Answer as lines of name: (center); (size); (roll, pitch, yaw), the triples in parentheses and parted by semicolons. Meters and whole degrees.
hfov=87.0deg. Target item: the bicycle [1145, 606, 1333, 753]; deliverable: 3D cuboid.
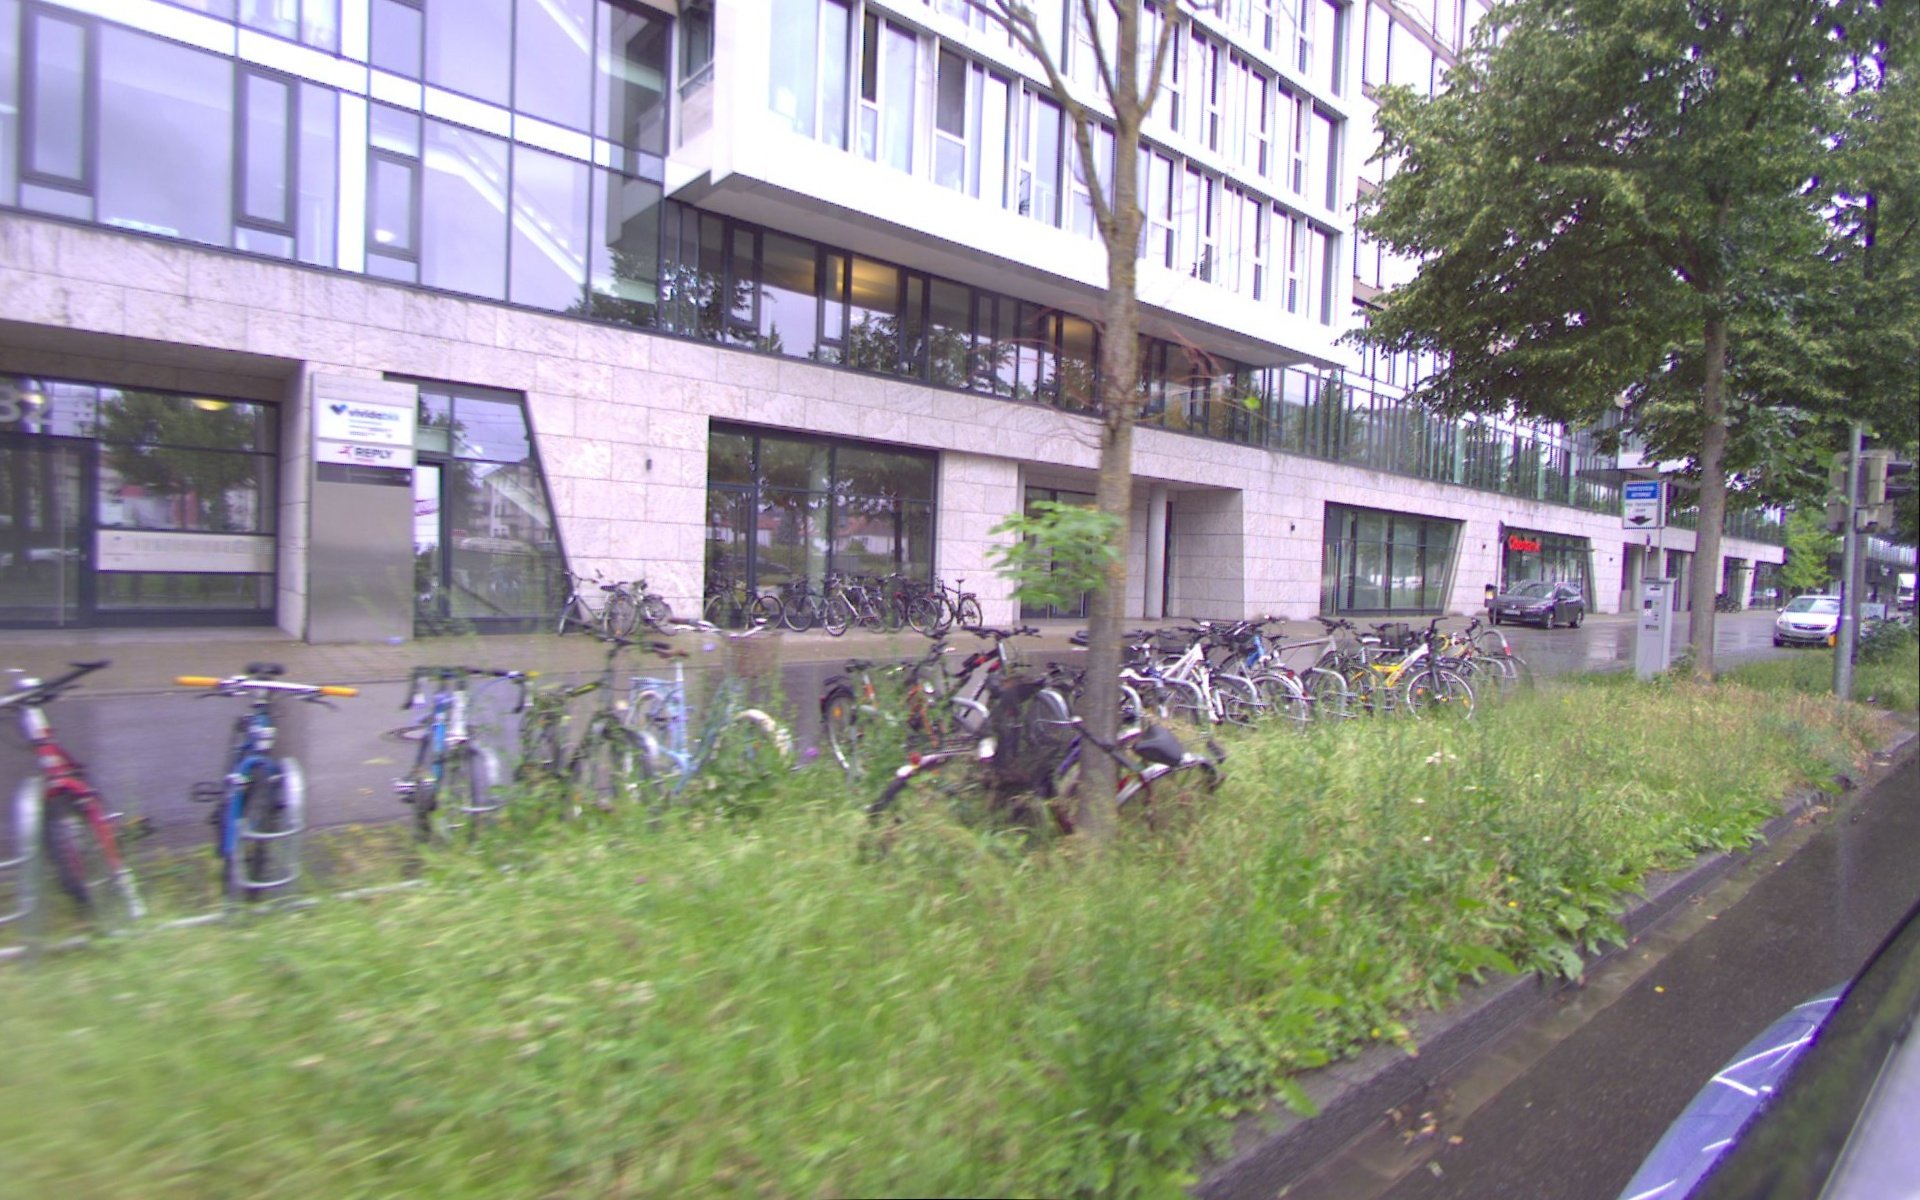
bicycle: (2.353, 0.635, 8.698); (0.292, 1.066, 1.615); (0, 3, -42)

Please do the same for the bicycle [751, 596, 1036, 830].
bicycle: (-0.239, 0.421, 4.275); (1.270, 0.859, 0.275); (0, 3, -41)

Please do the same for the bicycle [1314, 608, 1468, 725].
bicycle: (4.327, 0.633, 10.250); (0.342, 1.030, 1.444); (1, 2, -35)

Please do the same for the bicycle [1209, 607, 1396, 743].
bicycle: (3.248, 0.677, 9.738); (1.706, 1.116, 0.279); (4, 3, 44)

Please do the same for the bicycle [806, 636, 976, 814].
bicycle: (-0.439, 0.684, 5.957); (0.270, 0.859, 1.291); (0, 2, -41)

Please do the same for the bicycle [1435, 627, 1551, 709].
bicycle: (6.534, 0.809, 12.452); (0.270, 0.859, 1.295); (1, 2, -29)

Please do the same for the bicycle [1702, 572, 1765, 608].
bicycle: (43.851, -0.583, 57.384); (0.694, 1.883, 2.690); (1, 2, -35)

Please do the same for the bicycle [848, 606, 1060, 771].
bicycle: (-0.105, 0.523, 6.705); (0.270, 0.859, 1.821); (0, 3, -41)

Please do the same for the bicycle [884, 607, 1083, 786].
bicycle: (0.110, 0.598, 6.929); (0.315, 1.000, 1.646); (0, 3, -41)

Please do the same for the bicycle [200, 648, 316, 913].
bicycle: (-2.970, 0.683, 4.247); (0.270, 0.859, 1.291); (0, 2, -41)

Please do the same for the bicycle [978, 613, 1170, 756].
bicycle: (0.771, 0.561, 7.296); (0.270, 0.860, 1.618); (0, 2, -40)

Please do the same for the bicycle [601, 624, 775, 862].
bicycle: (-1.360, 0.631, 4.934); (0.270, 0.930, 1.291); (0, 3, -41)

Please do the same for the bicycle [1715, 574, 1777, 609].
bicycle: (45.646, -0.523, 58.786); (0.694, 1.883, 2.690); (1, 2, -35)

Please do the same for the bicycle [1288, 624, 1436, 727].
bicycle: (3.815, 0.694, 9.668); (1.289, 0.859, 0.271); (3, 2, 45)

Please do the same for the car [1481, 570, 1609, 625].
car: (19.153, -0.054, 33.037); (4.944, 1.519, 1.999); (1, 4, -40)

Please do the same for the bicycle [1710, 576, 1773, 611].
bicycle: (45.026, -0.376, 58.333); (0.694, 1.883, 2.690); (1, 2, -35)

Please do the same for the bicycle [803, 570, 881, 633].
bicycle: (-2.160, 0.001, 18.345); (0.531, 1.041, 1.812); (0, 3, -37)

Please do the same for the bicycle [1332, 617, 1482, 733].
bicycle: (4.610, 0.741, 10.524); (0.342, 1.030, 1.444); (1, 2, -33)

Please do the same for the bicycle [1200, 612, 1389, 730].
bicycle: (3.081, 0.623, 9.459); (1.706, 0.960, 0.308); (2, 2, 44)

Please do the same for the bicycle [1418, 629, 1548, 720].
bicycle: (5.878, 0.814, 11.436); (0.270, 0.859, 1.293); (1, 3, -35)

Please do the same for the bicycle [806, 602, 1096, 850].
bicycle: (0.006, 0.446, 4.086); (1.270, 0.859, 0.275); (0, 3, -41)

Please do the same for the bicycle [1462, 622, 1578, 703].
bicycle: (7.072, 0.768, 12.839); (0.295, 0.884, 1.295); (1, 3, -29)

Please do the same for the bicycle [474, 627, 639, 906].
bicycle: (-1.821, 0.658, 4.481); (0.270, 1.001, 1.291); (0, 2, -41)

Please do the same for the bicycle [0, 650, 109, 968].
bicycle: (-3.410, 0.682, 3.808); (0.305, 0.859, 1.598); (0, 2, -41)

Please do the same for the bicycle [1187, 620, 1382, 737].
bicycle: (2.877, 0.666, 9.126); (0.308, 0.859, 1.708); (1, 2, -44)

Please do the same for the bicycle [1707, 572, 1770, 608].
bicycle: (44.447, -0.580, 57.812); (0.694, 1.883, 2.690); (1, 2, -35)

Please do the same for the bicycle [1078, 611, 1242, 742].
bicycle: (1.606, 0.588, 8.305); (0.270, 0.908, 1.412); (0, 3, -42)

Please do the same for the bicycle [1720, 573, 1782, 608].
bicycle: (46.256, -0.568, 59.227); (0.694, 1.883, 2.690); (1, 2, -35)

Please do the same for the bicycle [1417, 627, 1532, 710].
bicycle: (6.247, 0.806, 12.341); (0.270, 0.859, 1.295); (1, 2, -29)

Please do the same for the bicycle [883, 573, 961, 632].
bicycle: (-0.759, 0.025, 19.529); (0.531, 1.041, 1.812); (0, 3, -37)

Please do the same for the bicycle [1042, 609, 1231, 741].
bicycle: (1.306, 0.532, 7.769); (0.270, 0.860, 1.618); (0, 2, -40)

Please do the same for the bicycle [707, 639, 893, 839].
bicycle: (-0.892, 0.687, 5.421); (0.348, 0.859, 1.291); (0, 2, -41)

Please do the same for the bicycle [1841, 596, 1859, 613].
bicycle: (61.327, 0.307, 69.744); (2.027, 1.144, 0.520); (0, 2, -38)

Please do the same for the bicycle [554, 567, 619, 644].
bicycle: (-5.573, 0.058, 15.044); (0.415, 1.041, 1.699); (0, 3, -37)

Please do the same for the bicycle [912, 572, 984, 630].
bicycle: (-0.257, 0.004, 19.961); (0.394, 1.041, 1.812); (0, 3, -37)

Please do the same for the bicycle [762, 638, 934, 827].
bicycle: (-0.660, 0.687, 5.655); (0.270, 0.859, 1.291); (0, 2, -41)

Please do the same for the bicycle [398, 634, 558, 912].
bicycle: (-2.100, 0.661, 4.341); (0.270, 0.921, 1.328); (0, 3, -41)

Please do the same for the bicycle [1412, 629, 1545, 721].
bicycle: (5.692, 0.800, 11.169); (0.270, 0.868, 1.293); (1, 2, -35)

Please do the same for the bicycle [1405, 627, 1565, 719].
bicycle: (6.058, 0.816, 11.769); (0.270, 0.859, 1.678); (1, 3, -36)

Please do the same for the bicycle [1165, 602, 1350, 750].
bicycle: (2.573, 0.618, 8.918); (0.292, 1.110, 1.615); (0, 3, -42)

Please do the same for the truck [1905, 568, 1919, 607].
truck: (89.737, -1.120, 93.448); (8.405, 3.483, 3.028); (0, 3, -44)

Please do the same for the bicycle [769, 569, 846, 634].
bicycle: (-2.717, 0.007, 17.904); (0.531, 1.041, 1.812); (0, 3, -37)

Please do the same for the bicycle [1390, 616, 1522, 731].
bicycle: (5.330, 0.762, 10.944); (0.270, 1.087, 1.294); (1, 2, -32)

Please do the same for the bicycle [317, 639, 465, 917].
bicycle: (-2.346, 0.648, 4.118); (0.270, 0.859, 1.291); (0, 3, -41)

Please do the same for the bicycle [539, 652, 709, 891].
bicycle: (-1.586, 0.724, 4.668); (0.270, 0.859, 1.291); (0, 2, -41)

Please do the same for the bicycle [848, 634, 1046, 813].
bicycle: (-0.125, 0.689, 6.110); (0.272, 0.859, 1.525); (0, 2, -41)

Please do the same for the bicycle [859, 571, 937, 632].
bicycle: (-1.187, 0.009, 19.102); (0.531, 1.041, 1.812); (0, 3, -37)

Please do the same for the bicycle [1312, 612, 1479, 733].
bicycle: (4.195, 0.662, 9.832); (0.343, 1.030, 1.454); (0, 2, -42)

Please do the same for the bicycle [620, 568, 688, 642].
bicycle: (-4.763, 0.051, 15.676); (0.404, 1.041, 1.755); (0, 3, -37)

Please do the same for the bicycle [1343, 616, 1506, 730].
bicycle: (4.934, 0.741, 10.846); (0.400, 1.030, 1.580); (1, 3, -33)

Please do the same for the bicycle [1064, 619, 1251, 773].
bicycle: (1.512, 0.703, 7.991); (0.270, 1.035, 1.618); (0, 2, -40)

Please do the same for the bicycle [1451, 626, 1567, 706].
bicycle: (6.794, 0.795, 12.583); (0.270, 0.842, 1.295); (1, 3, -29)

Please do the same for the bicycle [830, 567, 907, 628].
bicycle: (-1.711, -0.069, 18.683); (0.531, 1.041, 1.812); (0, 3, -37)

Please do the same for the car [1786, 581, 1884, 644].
car: (24.642, 0.383, 28.544); (1.880, 1.524, 4.652); (4, 1, 41)

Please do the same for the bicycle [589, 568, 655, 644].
bicycle: (-5.149, 0.064, 15.368); (0.415, 1.041, 1.699); (0, 3, -37)

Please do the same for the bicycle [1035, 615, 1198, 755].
bicycle: (1.113, 0.581, 7.422); (0.270, 0.859, 1.291); (0, 3, -41)

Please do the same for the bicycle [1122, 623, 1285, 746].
bicycle: (2.020, 0.679, 8.555); (0.270, 0.859, 1.407); (0, 3, -42)

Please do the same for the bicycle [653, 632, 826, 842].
bicycle: (-1.170, 0.646, 5.214); (0.270, 0.859, 1.291); (0, 3, -41)
